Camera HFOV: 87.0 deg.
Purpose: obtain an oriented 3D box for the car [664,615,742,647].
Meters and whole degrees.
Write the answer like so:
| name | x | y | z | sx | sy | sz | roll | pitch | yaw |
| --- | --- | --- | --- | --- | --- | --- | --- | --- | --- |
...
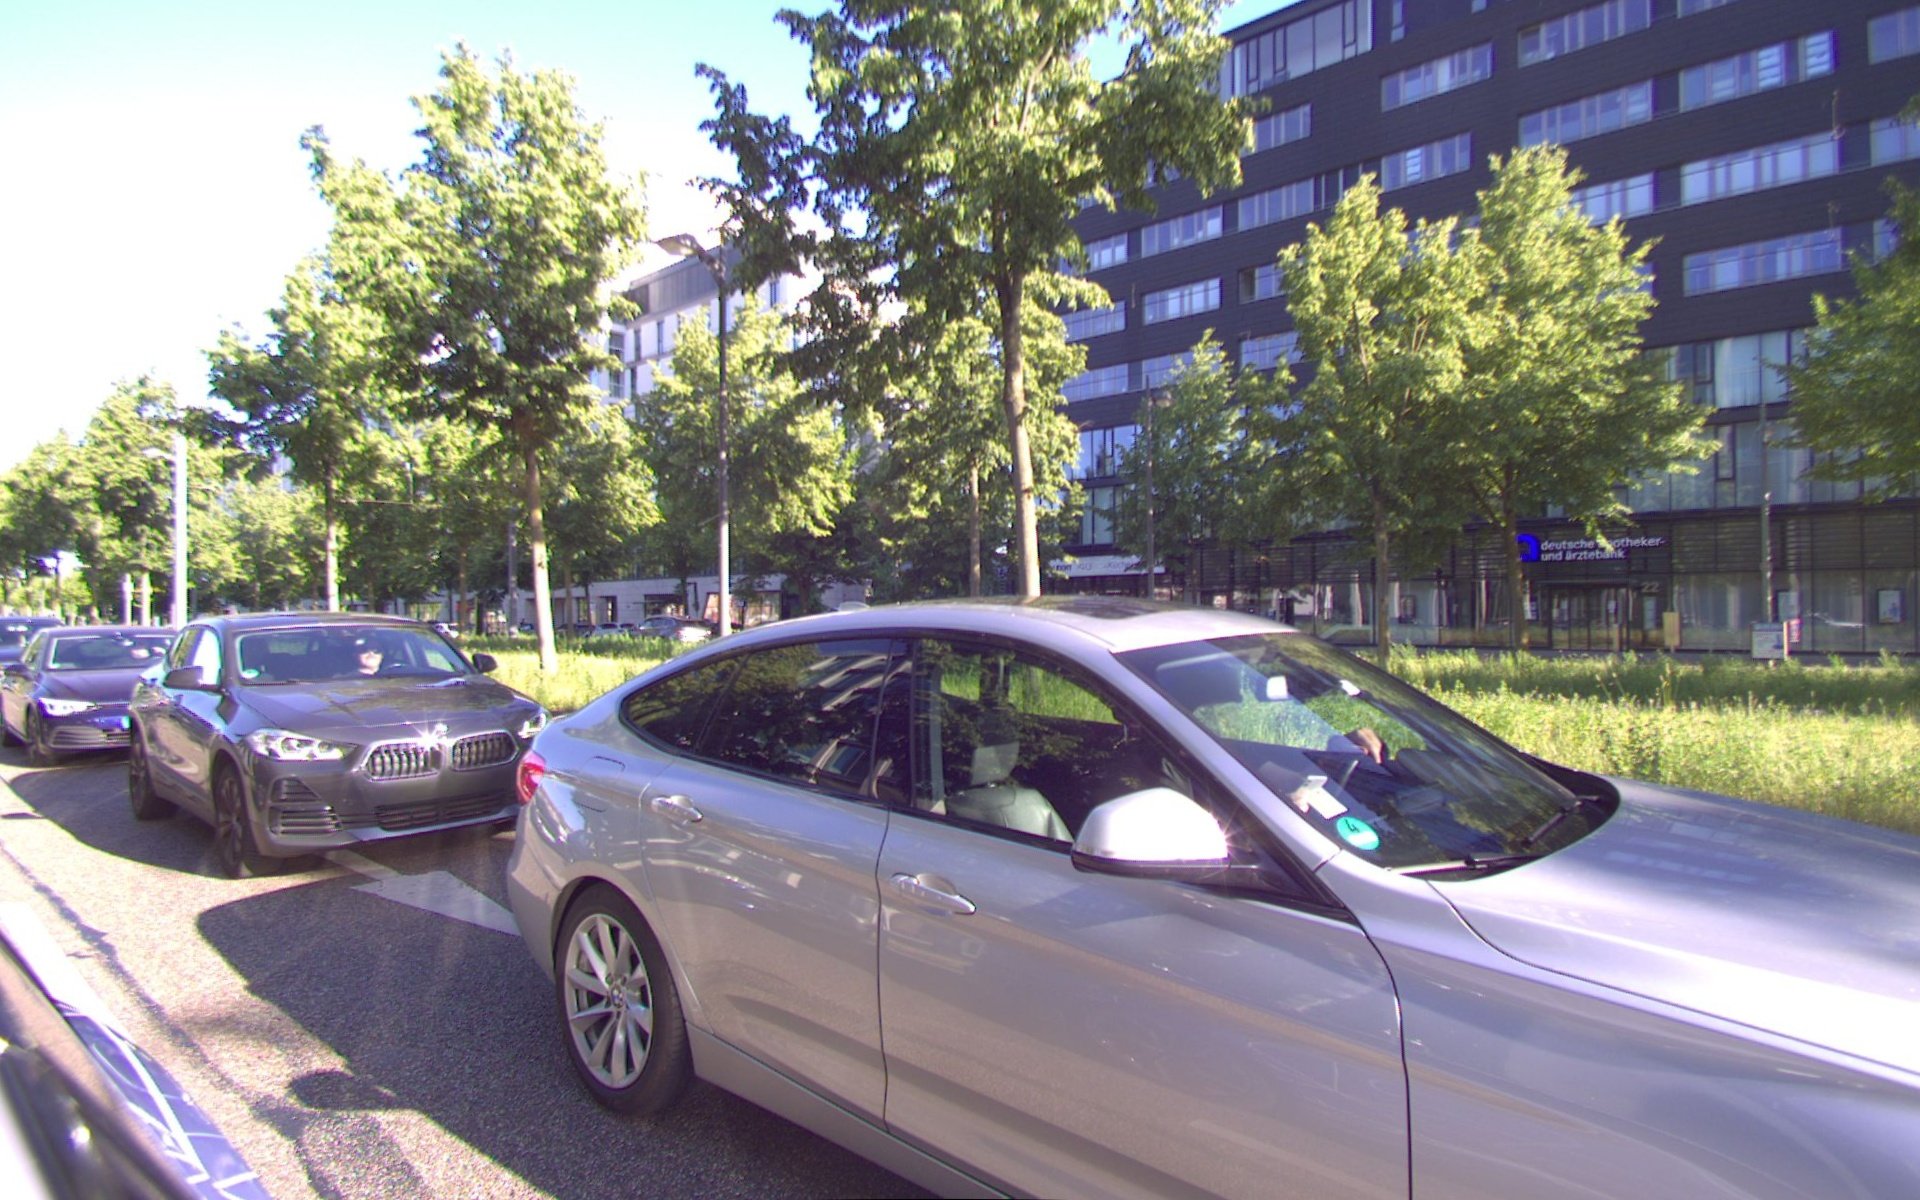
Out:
| name | x | y | z | sx | sy | sz | roll | pitch | yaw |
| --- | --- | --- | --- | --- | --- | --- | --- | --- | --- |
| car | -14.324 | 1.718 | 56.339 | 4.790 | 1.697 | 1.834 | -1 | -1 | 41 |

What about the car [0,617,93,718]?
| name | x | y | z | sx | sy | sz | roll | pitch | yaw |
| --- | --- | --- | --- | --- | --- | --- | --- | --- | --- |
| car | -16.826 | 1.132 | 17.879 | 4.164 | 1.602 | 1.788 | -1 | -1 | 42 |

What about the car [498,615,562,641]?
| name | x | y | z | sx | sy | sz | roll | pitch | yaw |
| --- | --- | --- | --- | --- | --- | --- | --- | --- | --- |
| car | -29.714 | 1.922 | 69.815 | 4.785 | 1.711 | 1.988 | -1 | -1 | 38 |

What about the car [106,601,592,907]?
| name | x | y | z | sx | sy | sz | roll | pitch | yaw |
| --- | --- | --- | --- | --- | --- | --- | --- | --- | --- |
| car | -4.433 | 0.814 | 7.090 | 4.027 | 1.534 | 1.789 | -1 | -1 | 41 |

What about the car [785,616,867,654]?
| name | x | y | z | sx | sy | sz | roll | pitch | yaw |
| --- | --- | --- | --- | --- | --- | --- | --- | --- | --- |
| car | -6.565 | 1.686 | 49.434 | 3.998 | 1.762 | 1.834 | -1 | -1 | 41 |

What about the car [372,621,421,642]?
| name | x | y | z | sx | sy | sz | roll | pitch | yaw |
| --- | --- | --- | --- | --- | --- | --- | --- | --- | --- |
| car | -47.350 | 2.642 | 85.011 | 4.788 | 1.711 | 1.986 | -1 | -1 | 40 |

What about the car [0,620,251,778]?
| name | x | y | z | sx | sy | sz | roll | pitch | yaw |
| --- | --- | --- | --- | --- | --- | --- | --- | --- | --- |
| car | -9.786 | 0.982 | 11.634 | 4.253 | 1.465 | 1.789 | -1 | -1 | 42 |

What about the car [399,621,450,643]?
| name | x | y | z | sx | sy | sz | roll | pitch | yaw |
| --- | --- | --- | --- | --- | --- | --- | --- | --- | --- |
| car | -42.965 | 2.569 | 81.209 | 4.788 | 1.711 | 1.986 | -1 | -1 | 40 |

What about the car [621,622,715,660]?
| name | x | y | z | sx | sy | sz | roll | pitch | yaw |
| --- | --- | --- | --- | --- | --- | --- | --- | --- | --- |
| car | -11.422 | 1.578 | 39.500 | 3.998 | 1.403 | 1.644 | -1 | -1 | 41 |

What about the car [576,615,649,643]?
| name | x | y | z | sx | sy | sz | roll | pitch | yaw |
| --- | --- | --- | --- | --- | --- | --- | --- | --- | --- |
| car | -21.743 | 1.811 | 63.240 | 4.785 | 1.711 | 1.988 | -1 | -1 | 38 |

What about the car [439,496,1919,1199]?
| name | x | y | z | sx | sy | sz | roll | pitch | yaw |
| --- | --- | --- | --- | --- | --- | --- | --- | --- | --- |
| car | 0.521 | 0.667 | 2.753 | 4.739 | 1.500 | 1.790 | -1 | -1 | 40 |

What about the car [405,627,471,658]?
| name | x | y | z | sx | sy | sz | roll | pitch | yaw |
| --- | --- | --- | --- | --- | --- | --- | --- | --- | --- |
| car | -30.983 | 2.477 | 60.001 | 4.790 | 1.742 | 1.834 | -1 | -1 | 41 |

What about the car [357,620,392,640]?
| name | x | y | z | sx | sy | sz | roll | pitch | yaw |
| --- | --- | --- | --- | --- | --- | --- | --- | --- | --- |
| car | -51.007 | 2.632 | 88.163 | 3.741 | 1.682 | 1.581 | -1 | -1 | 41 |
